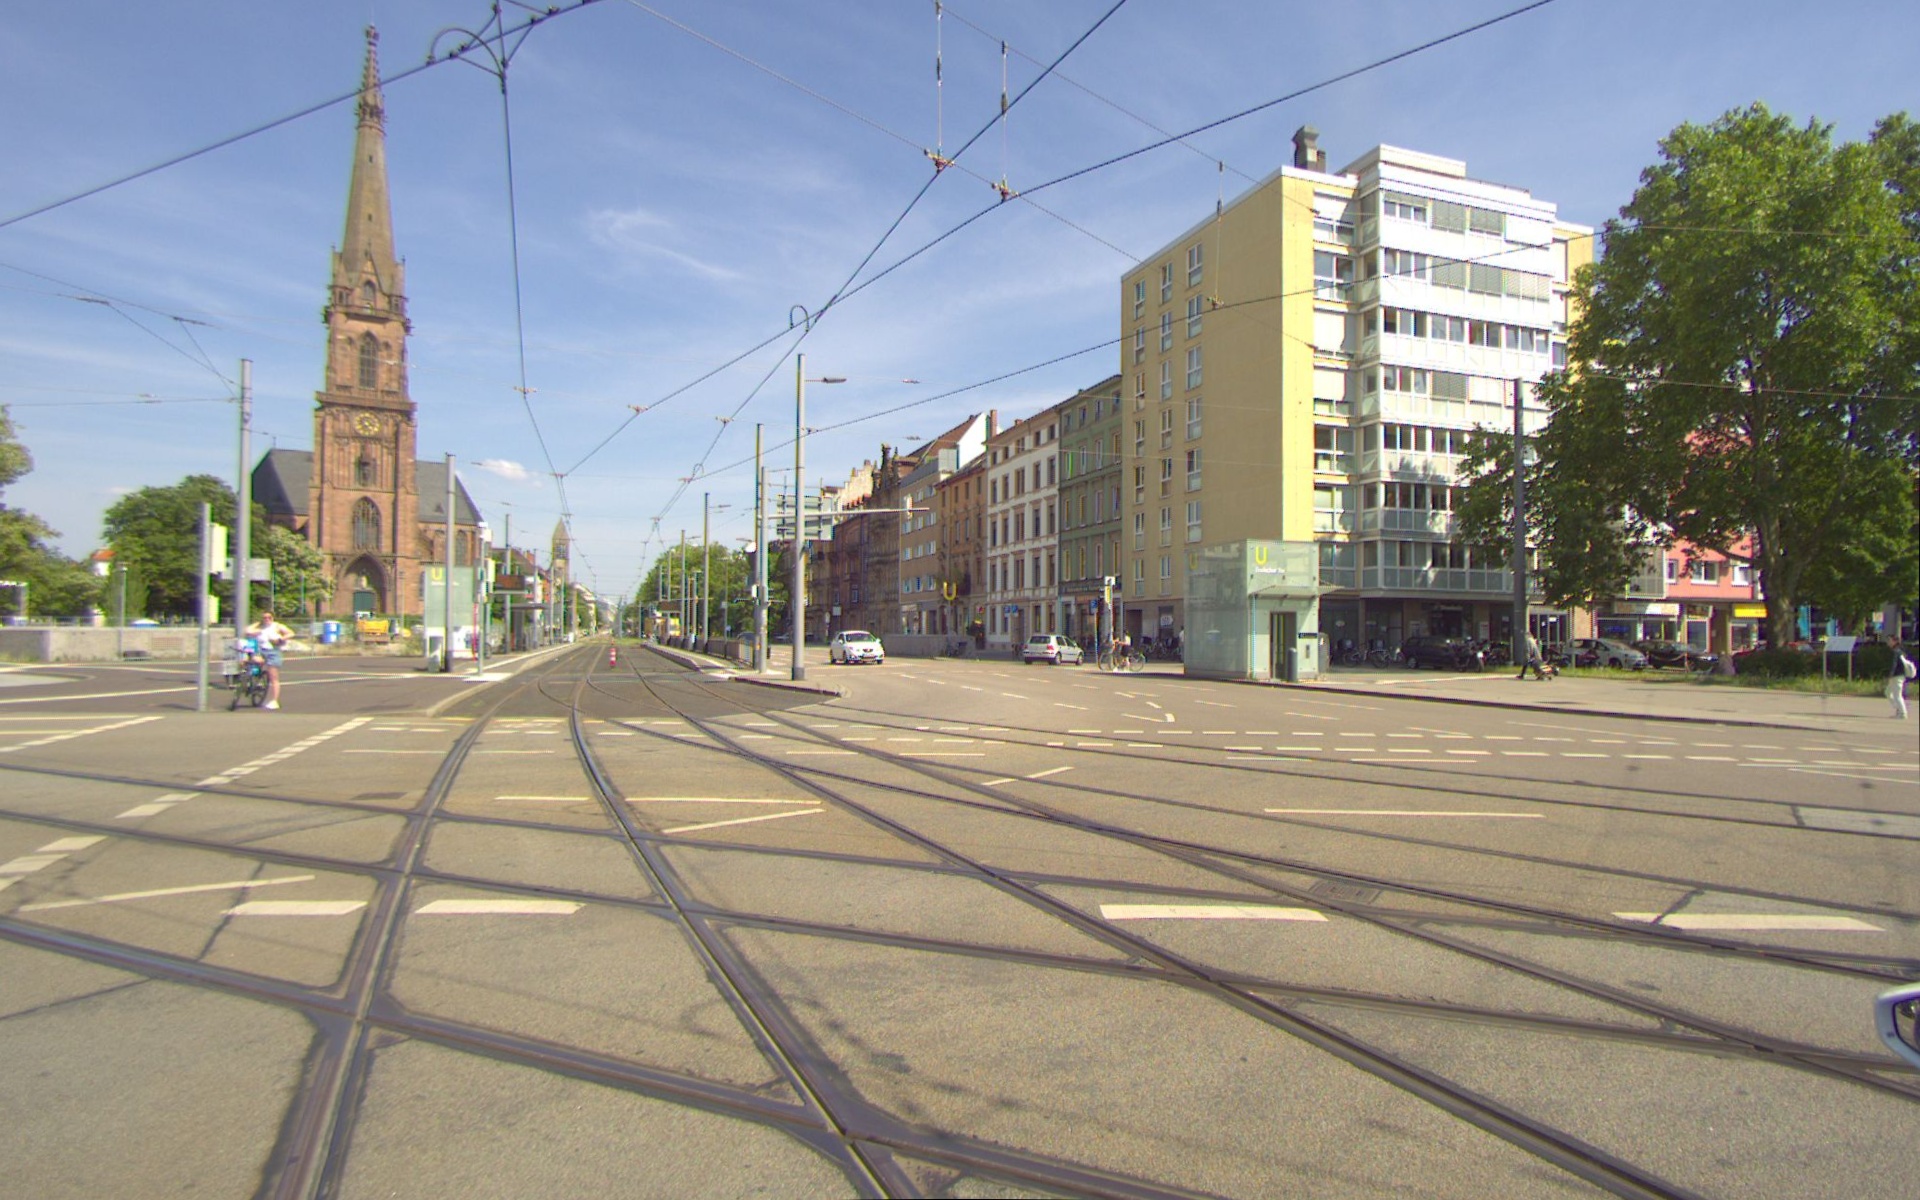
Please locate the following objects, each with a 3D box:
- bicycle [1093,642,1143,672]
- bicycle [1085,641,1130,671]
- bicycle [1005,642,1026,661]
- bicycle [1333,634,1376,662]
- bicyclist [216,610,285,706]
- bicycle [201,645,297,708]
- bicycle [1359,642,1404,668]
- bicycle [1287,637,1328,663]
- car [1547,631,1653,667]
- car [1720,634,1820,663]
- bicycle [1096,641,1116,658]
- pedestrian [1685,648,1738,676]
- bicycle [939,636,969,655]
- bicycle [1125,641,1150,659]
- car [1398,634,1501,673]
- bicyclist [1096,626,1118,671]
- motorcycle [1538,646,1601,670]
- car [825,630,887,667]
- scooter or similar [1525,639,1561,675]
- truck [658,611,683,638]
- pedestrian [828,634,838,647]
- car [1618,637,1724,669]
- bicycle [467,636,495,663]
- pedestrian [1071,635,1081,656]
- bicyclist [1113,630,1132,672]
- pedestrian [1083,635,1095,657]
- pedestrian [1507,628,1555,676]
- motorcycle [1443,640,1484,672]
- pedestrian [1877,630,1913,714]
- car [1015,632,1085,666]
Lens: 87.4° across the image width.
[{"bbox_3d":[6.075,2.188,38.677,1.762,1.145,0.754,1,-2,-2],"label":"bicycle"},{"bbox_3d":[5.924,2.242,40.229,1.773,1.145,0.580,2,-3,-26],"label":"bicycle"},{"bbox_3d":[3.248,3.021,59.215,0.575,1.109,1.812,-2,-2,-19],"label":"bicycle"},{"bbox_3d":[17.569,2.120,44.716,1.725,1.235,0.583,0,-1,-9],"label":"bicycle"},{"bbox_3d":[-12.966,1.069,18.380,0.738,1.706,0.775,1,-3,-13],"label":"bicyclist"},{"bbox_3d":[-12.962,1.384,18.386,0.738,1.098,1.845,1,-4,-13],"label":"bicycle"},{"bbox_3d":[18.295,2.399,43.632,1.725,1.100,0.583,0,-2,-9],"label":"bicycle"},{"bbox_3d":[16.109,2.305,46.513,1.860,1.201,0.539,1,-1,-18],"label":"bicycle"},{"bbox_3d":[30.428,2.308,47.888,1.861,1.459,3.983,1,0,-19],"label":"car"},{"bbox_3d":[41.991,2.489,52.190,1.716,1.358,3.720,1,-1,-19],"label":"car"},{"bbox_3d":[9.004,3.043,62.155,0.408,0.977,1.772,-2,-1,-20],"label":"bicycle"},{"bbox_3d":[25.471,2.103,34.061,0.810,0.904,1.170,1,-2,-21],"label":"pedestrian"},{"bbox_3d":[-0.384,2.776,61.387,1.721,1.109,0.595,1,-1,-20],"label":"bicycle"},{"bbox_3d":[10.291,2.882,58.256,0.575,0.977,1.772,-2,-1,-20],"label":"bicycle"},{"bbox_3d":[21.355,2.314,43.979,1.634,1.489,4.076,4,-3,-18],"label":"car"},{"bbox_3d":[5.867,1.928,40.071,0.609,1.757,0.580,2,-2,-26],"label":"bicyclist"},{"bbox_3d":[22.777,2.146,37.564,2.003,0.853,0.639,-1,-2,32],"label":"motorcycle"},{"bbox_3d":[-4.585,2.063,43.769,1.733,1.416,4.107,-3,0,-20],"label":"car"},{"bbox_3d":[18.801,1.823,32.406,0.506,1.134,1.365,0,-2,8],"label":"scooter or similar"},{"bbox_3d":[-38.548,3.279,133.468,2.512,3.342,8.989,-2,-1,-20],"label":"truck"},{"bbox_3d":[-13.513,4.283,106.721,0.936,1.342,0.818,1,-2,-22],"label":"pedestrian"},{"bbox_3d":[34.702,2.560,49.139,1.716,1.287,3.983,1,0,-19],"label":"car"},{"bbox_3d":[-20.739,2.117,43.515,0.405,1.085,1.663,0,0,-1],"label":"bicycle"},{"bbox_3d":[7.637,2.989,66.051,0.519,1.372,0.528,1,-2,-20],"label":"pedestrian"},{"bbox_3d":[6.239,1.954,38.606,0.601,1.593,0.733,1,-2,-2],"label":"bicyclist"},{"bbox_3d":[8.307,2.946,64.765,0.519,1.392,0.644,1,-2,-20],"label":"pedestrian"},{"bbox_3d":[17.727,1.603,31.194,0.647,1.423,1.111,1,1,-24],"label":"pedestrian"},{"bbox_3d":[18.042,1.989,36.028,0.627,1.076,2.039,0,-2,5],"label":"motorcycle"},{"bbox_3d":[18.595,1.424,19.974,0.396,1.626,0.449,1,1,-38],"label":"pedestrian"},{"bbox_3d":[4.401,2.388,48.517,1.782,1.458,3.993,1,-4,31],"label":"car"}]
